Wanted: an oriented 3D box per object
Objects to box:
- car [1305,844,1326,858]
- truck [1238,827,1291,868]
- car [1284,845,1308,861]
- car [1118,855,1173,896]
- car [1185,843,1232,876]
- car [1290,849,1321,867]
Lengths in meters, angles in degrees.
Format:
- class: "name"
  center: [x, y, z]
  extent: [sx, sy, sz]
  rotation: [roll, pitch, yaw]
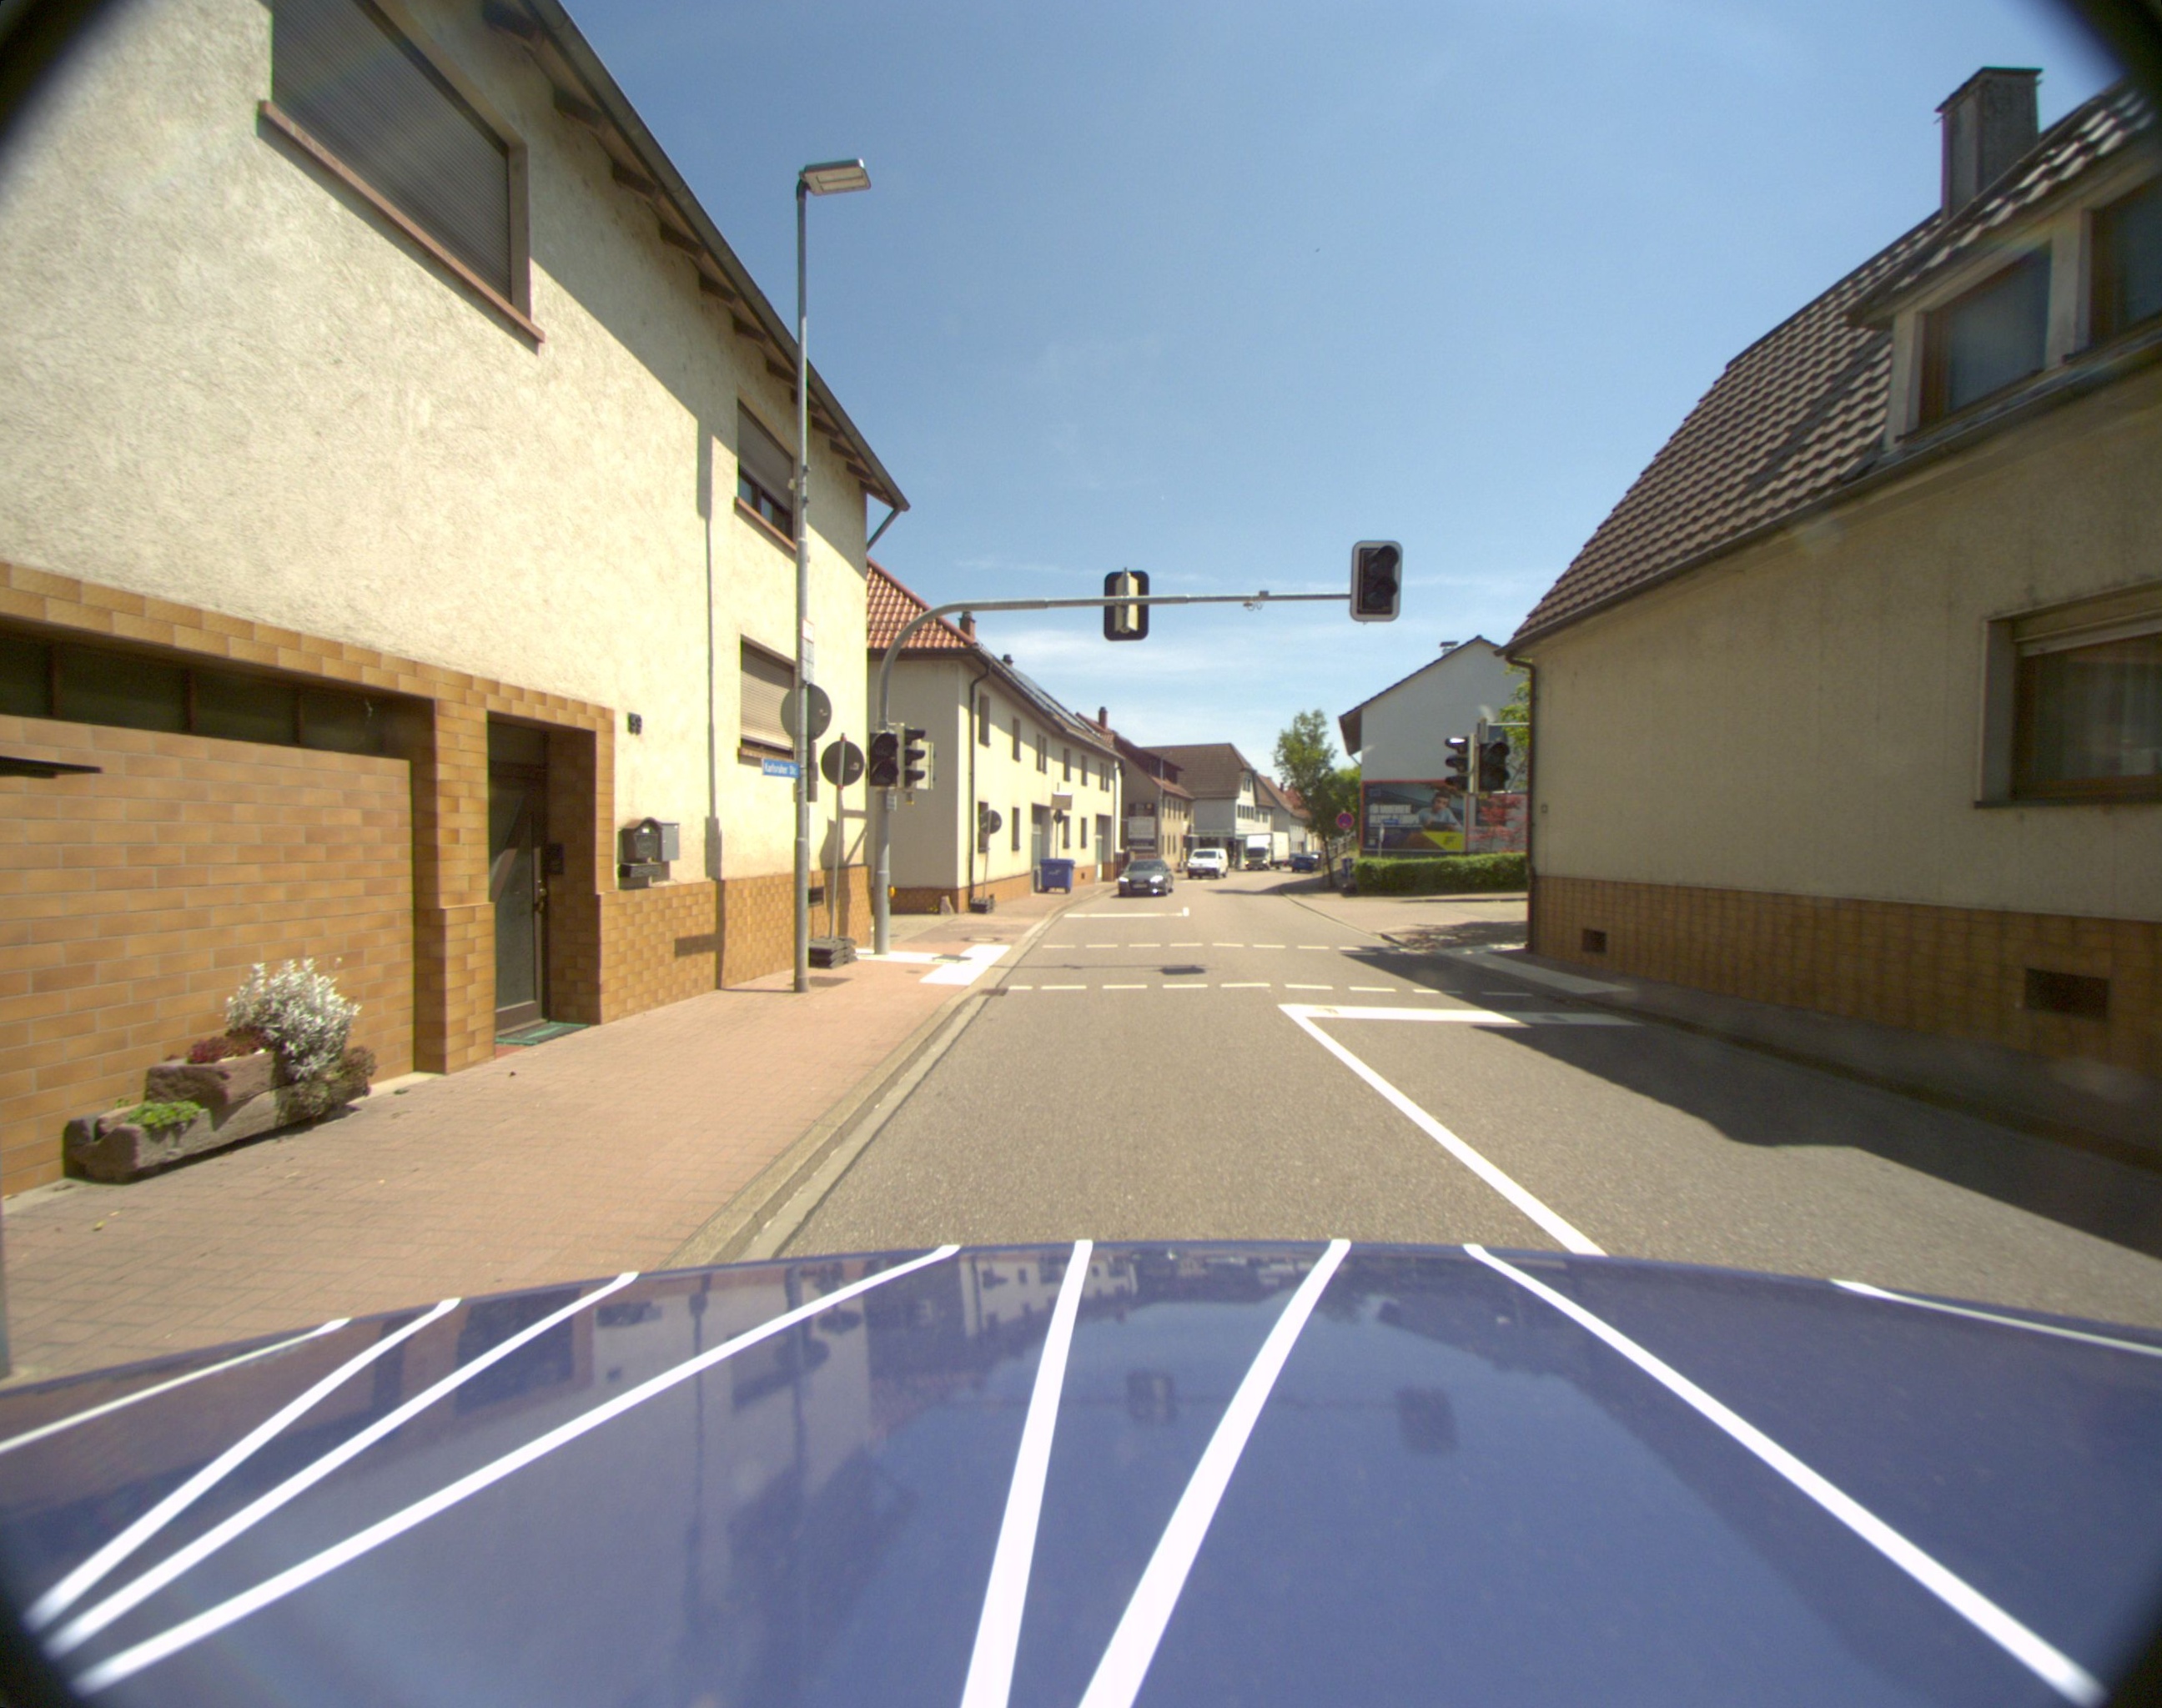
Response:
- class: "car"
  center: [29.259, -0.372, 94.706]
  extent: [1.995, 1.608, 4.006]
  rotation: [-2, 1, 25]
- class: "truck"
  center: [17.022, -0.707, 69.928]
  extent: [2.861, 3.493, 8.333]
  rotation: [2, 2, 27]
- class: "car"
  center: [22.758, -0.120, 80.320]
  extent: [1.864, 1.521, 4.006]
  rotation: [-2, 1, 25]
- class: "car"
  center: [2.532, 0.775, 29.103]
  extent: [1.784, 1.365, 3.609]
  rotation: [-1, 1, 10]
- class: "car"
  center: [8.307, 0.313, 48.933]
  extent: [2.076, 1.949, 5.525]
  rotation: [0, 2, 19]
- class: "car"
  center: [19.290, 0.346, 65.171]
  extent: [1.783, 1.421, 4.147]
  rotation: [0, 2, 27]
